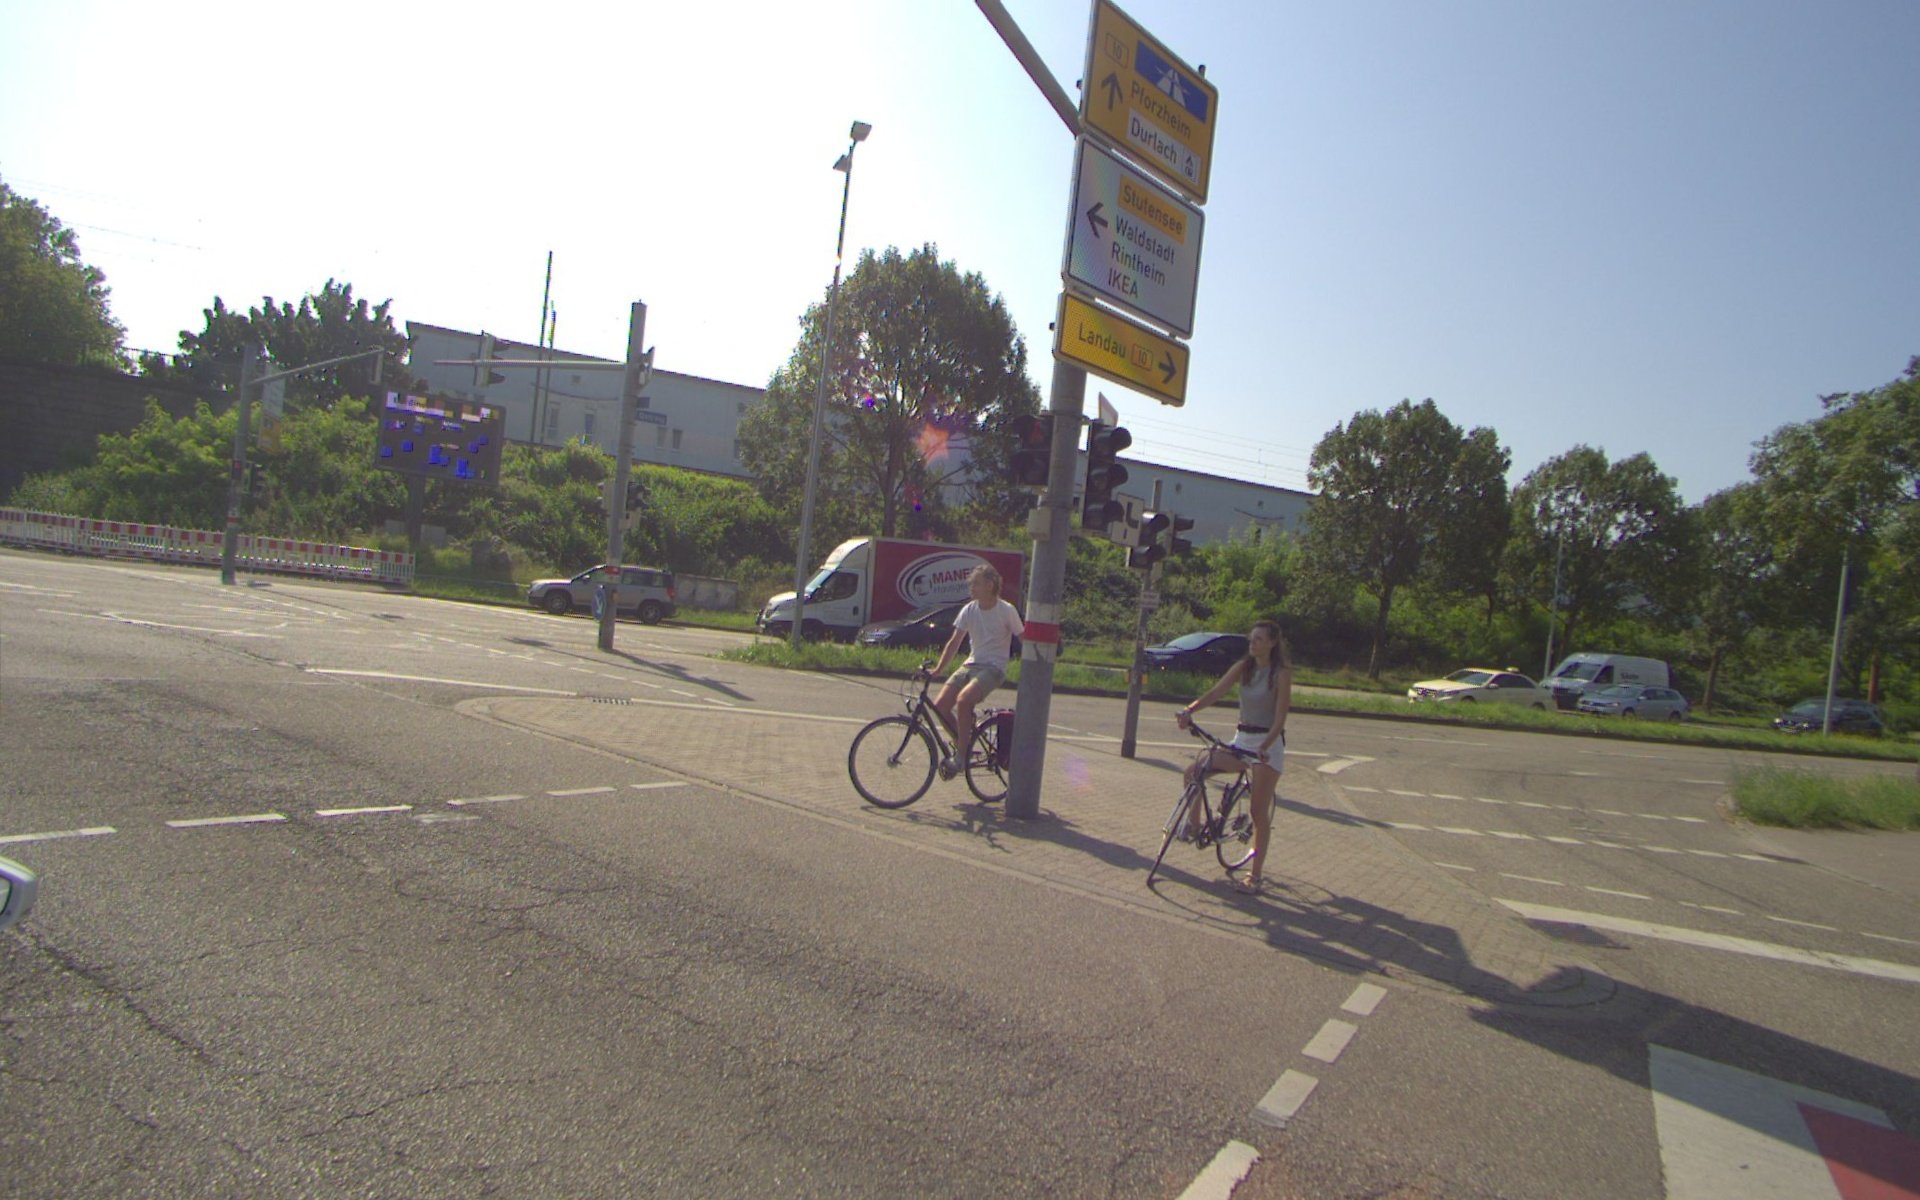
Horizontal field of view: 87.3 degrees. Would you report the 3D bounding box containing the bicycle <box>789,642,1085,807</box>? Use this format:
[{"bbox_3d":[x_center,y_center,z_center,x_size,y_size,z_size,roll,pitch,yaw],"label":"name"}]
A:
[{"bbox_3d":[-0.140,1.018,8.038,2.199,1.100,0.766,8,-1,-34],"label":"bicycle"}]

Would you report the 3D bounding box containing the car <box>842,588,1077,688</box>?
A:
[{"bbox_3d":[-0.011,0.913,23.957,5.124,1.631,1.899,9,-2,-20],"label":"car"}]

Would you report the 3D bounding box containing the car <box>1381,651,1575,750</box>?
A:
[{"bbox_3d":[15.906,3.089,30.911,5.151,2.287,2.241,8,-2,-20],"label":"car"}]

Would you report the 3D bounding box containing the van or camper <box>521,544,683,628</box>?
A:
[{"bbox_3d":[-10.358,-0.367,29.207,4.118,1.796,1.844,9,-2,-21],"label":"van or camper"}]

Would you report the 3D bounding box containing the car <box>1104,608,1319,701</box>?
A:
[{"bbox_3d":[6.724,1.441,26.952,5.151,1.760,2.138,9,-2,-20],"label":"car"}]

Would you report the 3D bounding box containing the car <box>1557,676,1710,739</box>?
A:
[{"bbox_3d":[25.047,3.997,37.456,4.906,1.627,2.159,9,-2,-20],"label":"car"}]

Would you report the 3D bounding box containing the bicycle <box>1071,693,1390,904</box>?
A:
[{"bbox_3d":[1.856,1.274,6.666,2.245,1.100,0.764,8,-1,-39],"label":"bicycle"}]

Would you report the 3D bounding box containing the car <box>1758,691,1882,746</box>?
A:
[{"bbox_3d":[30.841,4.243,36.075,3.702,1.413,1.651,9,-3,-19],"label":"car"}]

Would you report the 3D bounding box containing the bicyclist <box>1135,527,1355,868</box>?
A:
[{"bbox_3d":[1.883,0.643,6.591,1.195,2.037,0.592,8,-2,-38],"label":"bicyclist"}]

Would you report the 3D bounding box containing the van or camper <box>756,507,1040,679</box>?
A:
[{"bbox_3d":[-1.601,-0.077,26.377,6.756,3.400,2.241,8,-2,-20],"label":"van or camper"}]

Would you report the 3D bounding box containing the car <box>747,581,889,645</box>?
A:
[{"bbox_3d":[-4.474,0.426,31.647,3.946,1.570,1.990,6,-2,-23],"label":"car"}]

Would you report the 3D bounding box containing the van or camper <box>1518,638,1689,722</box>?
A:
[{"bbox_3d":[26.389,3.287,41.241,6.775,2.510,2.240,9,-2,-22],"label":"van or camper"}]

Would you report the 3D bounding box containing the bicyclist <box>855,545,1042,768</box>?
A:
[{"bbox_3d":[-0.083,0.462,8.051,1.194,1.612,0.593,9,-2,-33],"label":"bicyclist"}]
